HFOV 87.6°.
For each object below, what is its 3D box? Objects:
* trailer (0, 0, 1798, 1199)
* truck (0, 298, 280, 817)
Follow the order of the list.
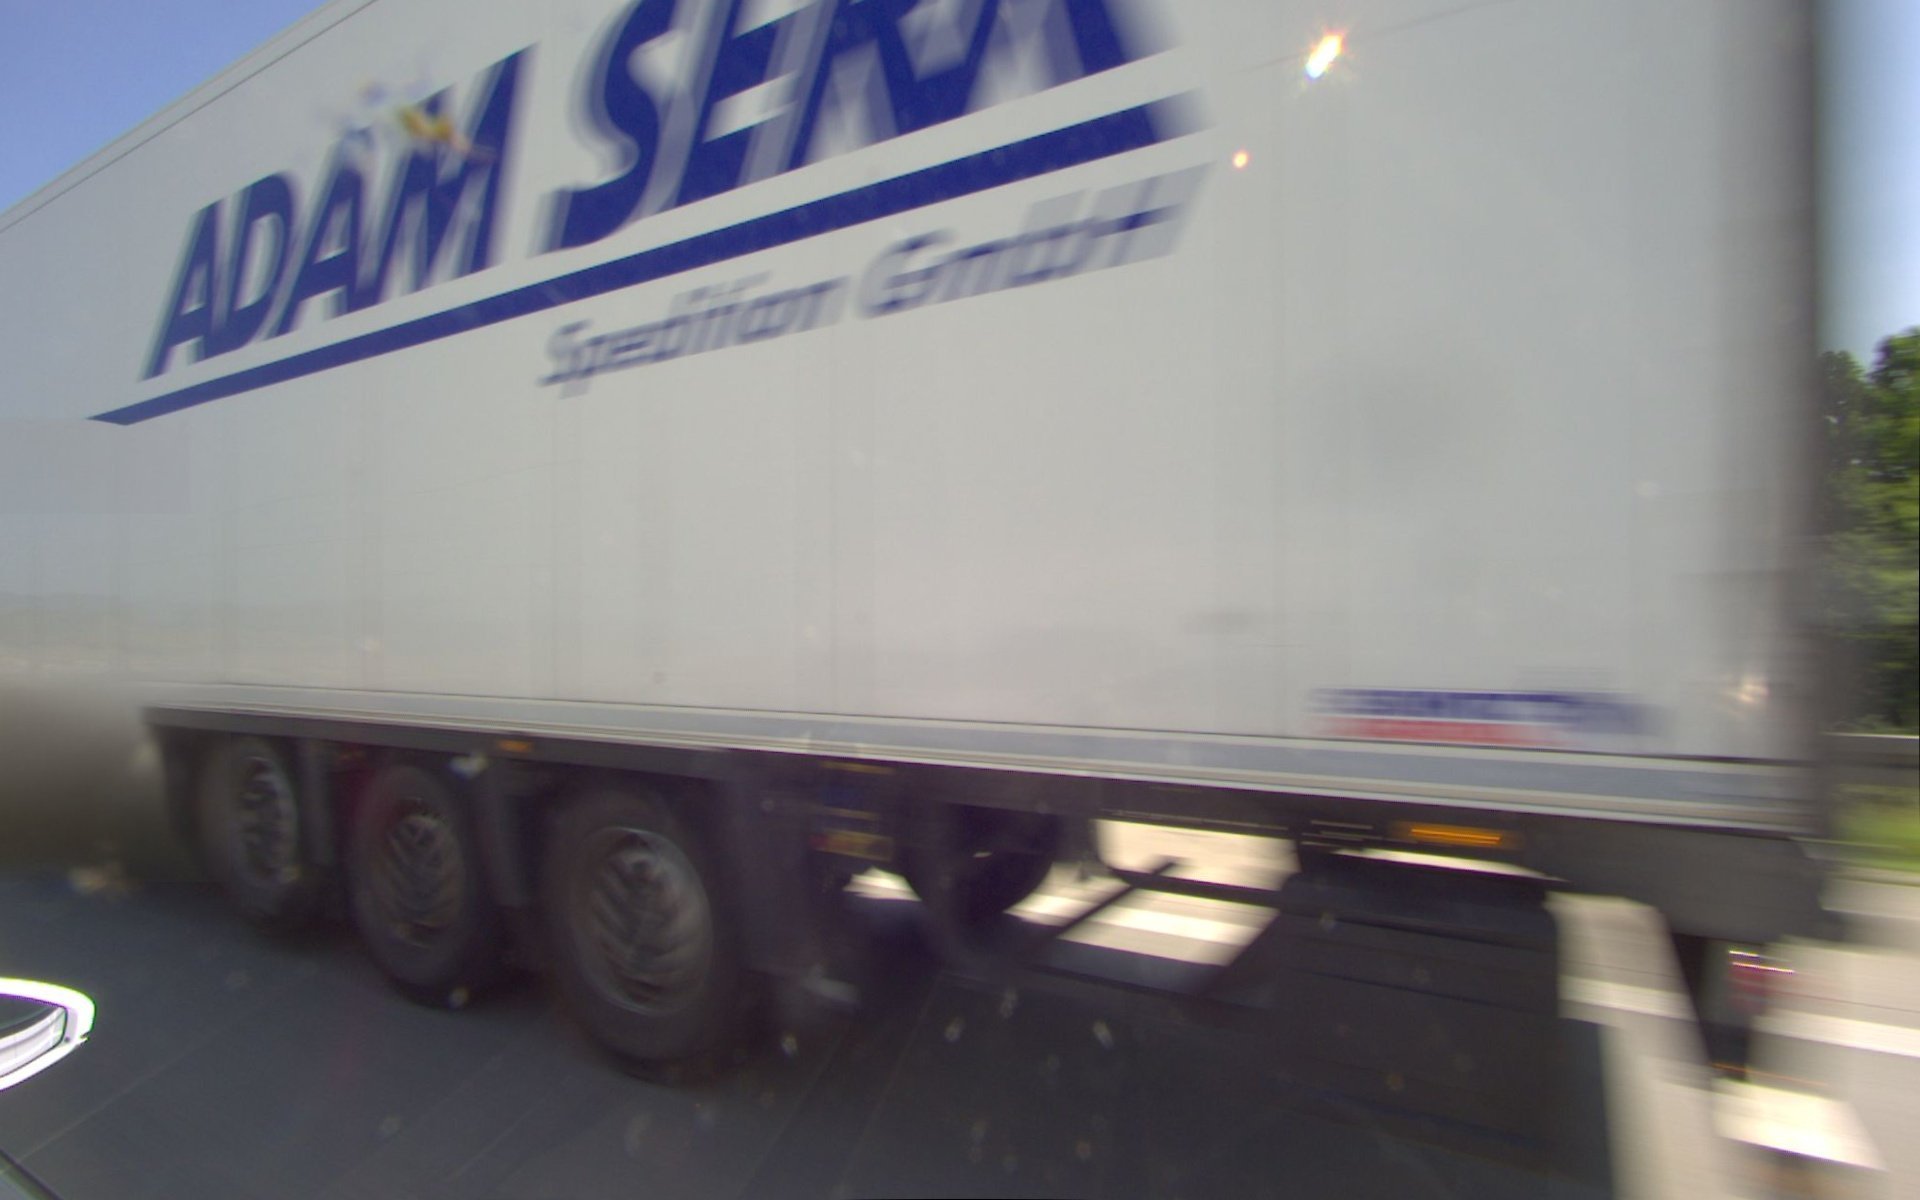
[{"bbox_3d":[-3.365,-0.410,6.007,12.531,4.094,2.848,-1,-2,32],"label":"trailer"},{"bbox_3d":[-9.753,-0.275,10.044,5.715,4.140,2.807,-1,-1,32],"label":"truck"}]
